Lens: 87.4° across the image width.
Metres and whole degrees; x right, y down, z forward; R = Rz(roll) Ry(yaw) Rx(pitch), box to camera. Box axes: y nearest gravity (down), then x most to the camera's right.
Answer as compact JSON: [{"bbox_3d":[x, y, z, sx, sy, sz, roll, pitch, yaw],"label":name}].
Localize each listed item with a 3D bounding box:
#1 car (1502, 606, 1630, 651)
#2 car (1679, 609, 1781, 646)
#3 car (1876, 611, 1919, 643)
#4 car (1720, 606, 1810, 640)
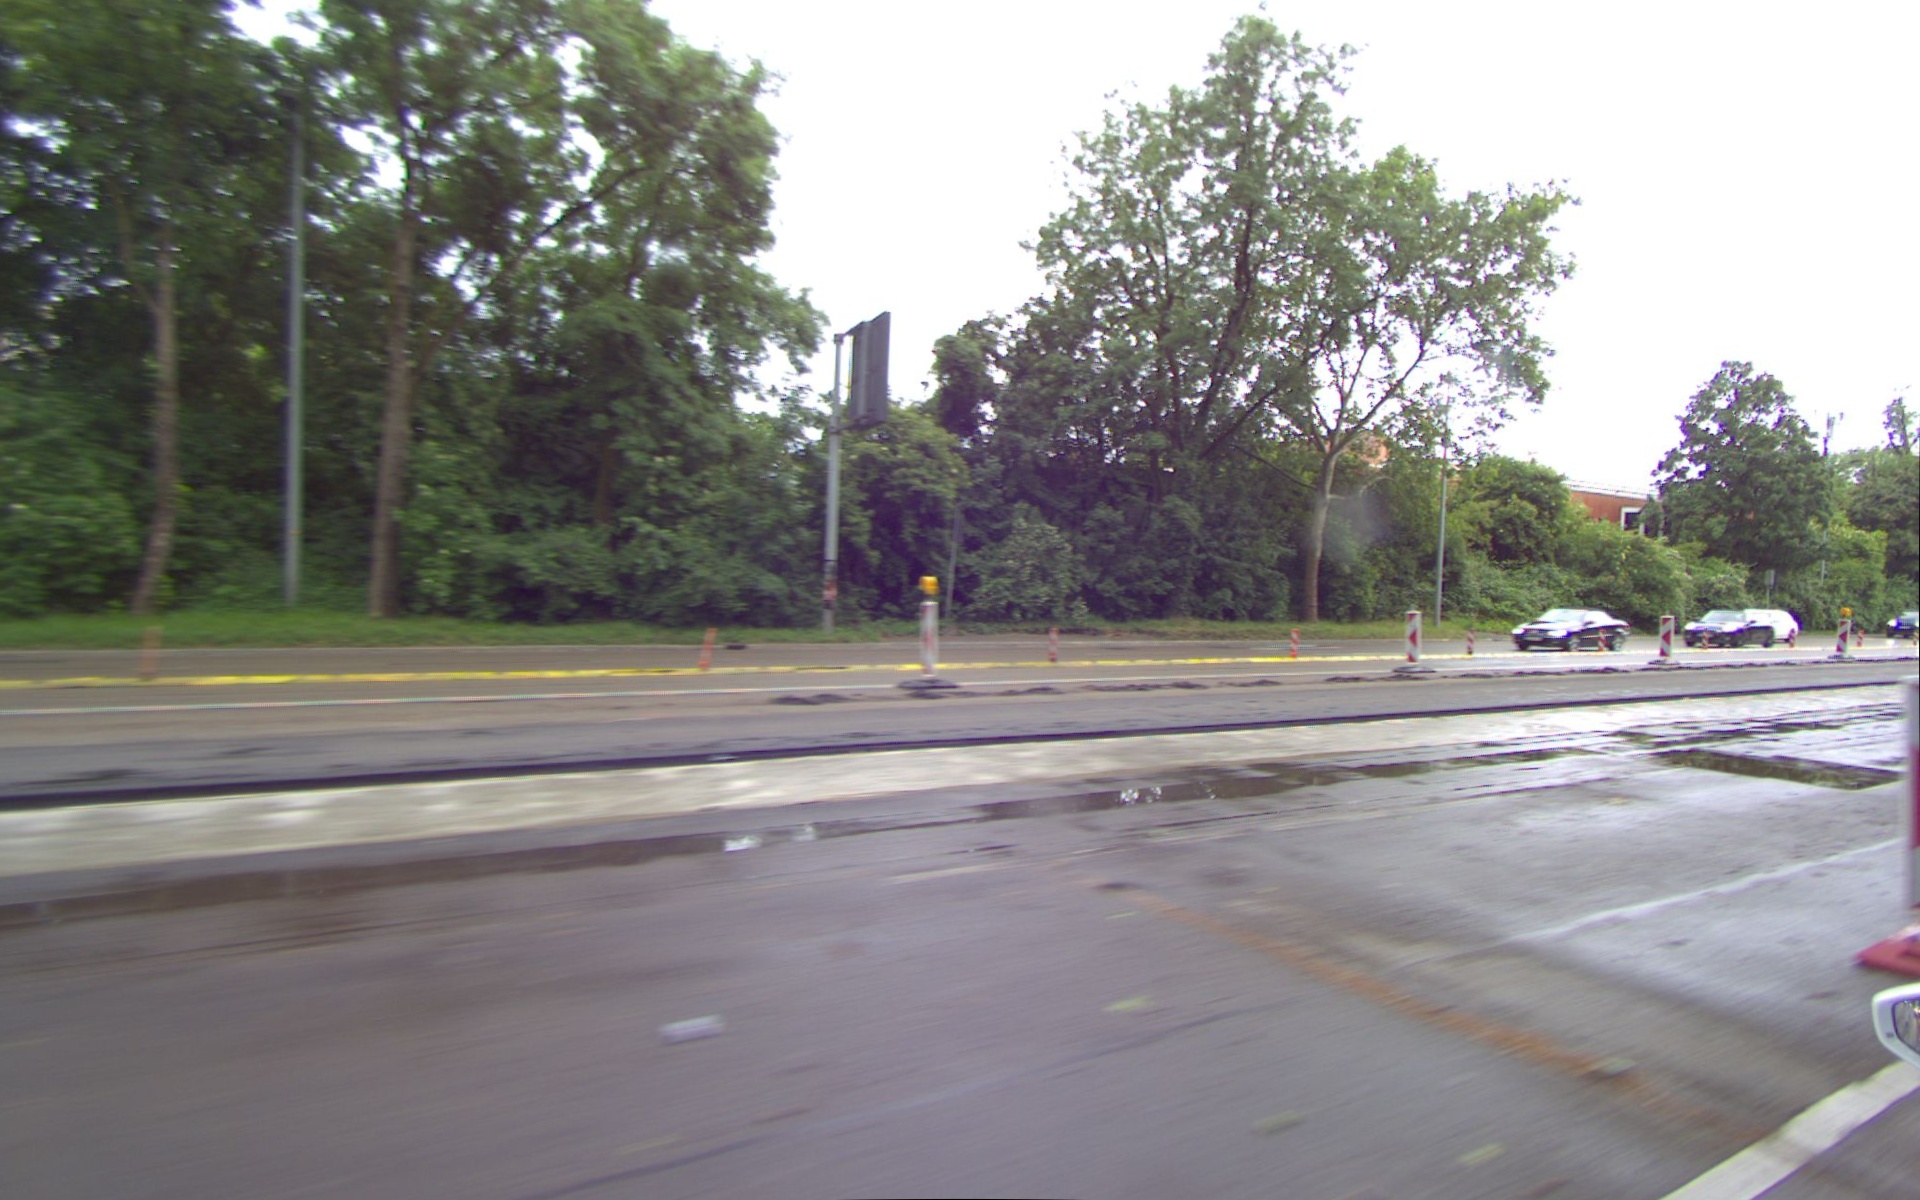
[{"bbox_3d":[19.750,0.905,32.670,4.341,1.373,1.808,1,0,-32],"label":"car"},{"bbox_3d":[29.836,1.055,38.893,4.157,1.373,1.808,1,0,-32],"label":"car"},{"bbox_3d":[54.997,1.544,58.186,4.482,1.708,1.644,1,2,-32],"label":"car"},{"bbox_3d":[37.450,1.043,46.688,4.551,1.439,1.808,1,2,-32],"label":"car"}]
